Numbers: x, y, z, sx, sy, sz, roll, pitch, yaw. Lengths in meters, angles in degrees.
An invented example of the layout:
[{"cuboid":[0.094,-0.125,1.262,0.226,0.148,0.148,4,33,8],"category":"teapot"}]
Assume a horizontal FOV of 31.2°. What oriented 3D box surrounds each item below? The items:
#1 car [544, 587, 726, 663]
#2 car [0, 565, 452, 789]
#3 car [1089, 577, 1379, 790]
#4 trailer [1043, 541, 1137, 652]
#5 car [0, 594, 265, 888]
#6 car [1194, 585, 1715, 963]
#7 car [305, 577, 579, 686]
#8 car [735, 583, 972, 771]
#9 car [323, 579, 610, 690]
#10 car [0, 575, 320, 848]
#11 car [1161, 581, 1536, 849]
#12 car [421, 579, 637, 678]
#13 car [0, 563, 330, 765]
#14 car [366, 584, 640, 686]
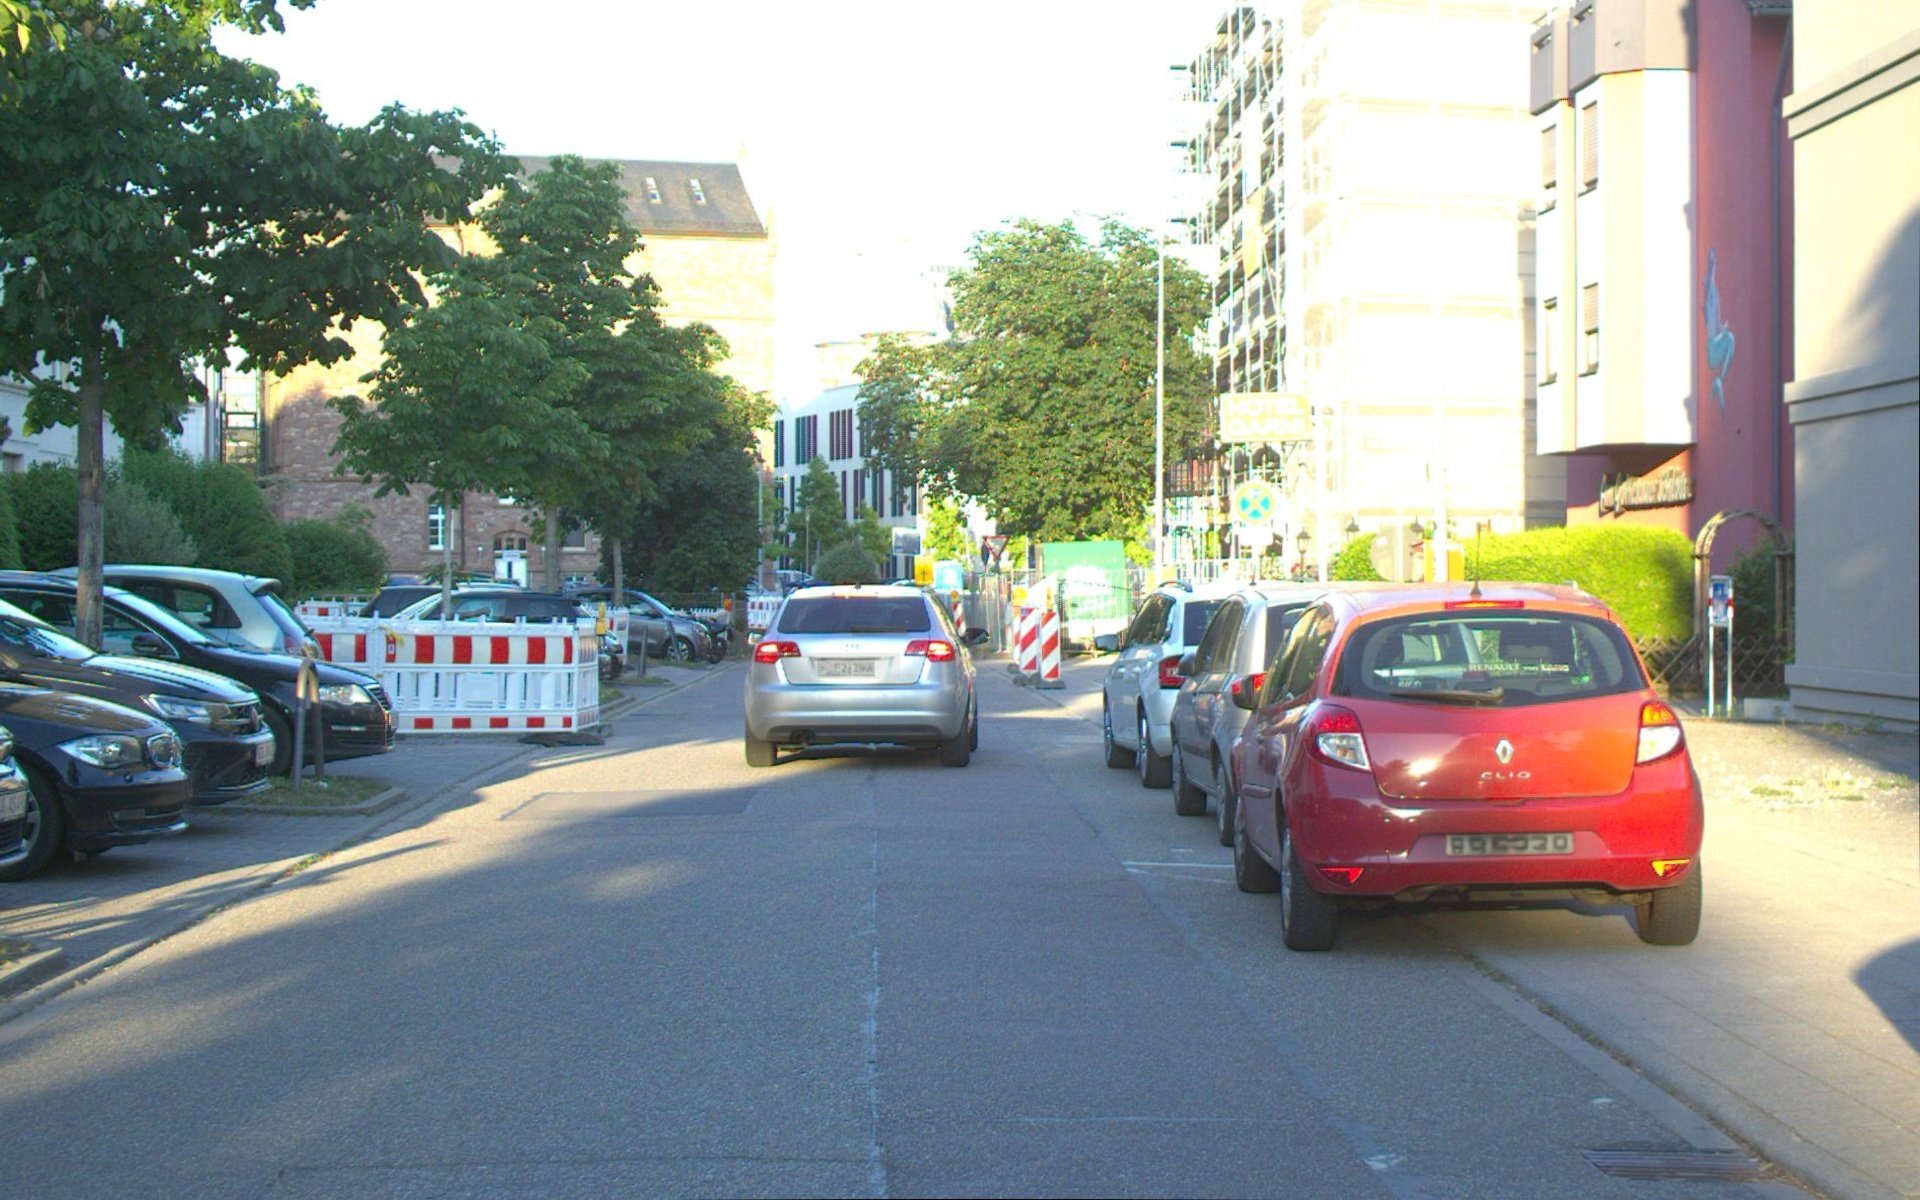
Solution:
[{"cuboid":[-6.690,0.506,70.983,3.623,1.551,1.693,0,0,-1],"category":"car"},{"cuboid":[-6.092,0.516,24.958,4.507,1.479,1.728,2,0,1],"category":"car"},{"cuboid":[1.971,0.567,25.767,1.614,1.464,3.997,0,0,-4],"category":"car"},{"cuboid":[3.027,-0.111,80.770,1.993,2.531,4.186,0,1,-1],"category":"trailer"},{"cuboid":[-5.650,0.653,17.545,3.842,1.380,1.607,2,0,1],"category":"car"},{"cuboid":[2.066,0.675,15.340,1.740,1.464,3.759,0,0,-1],"category":"car"},{"cuboid":[-7.501,0.462,49.965,3.677,1.479,1.728,1,-1,1],"category":"car"},{"cuboid":[-0.819,0.567,27.801,1.775,1.392,4.107,0,0,-1],"category":"car"},{"cuboid":[-6.786,0.479,47.502,3.677,1.440,1.728,1,-1,1],"category":"car"},{"cuboid":[-5.950,0.589,20.130,4.032,1.479,1.728,2,0,1],"category":"car"},{"cuboid":[2.248,0.620,20.817,1.797,1.464,3.844,0,0,-1],"category":"car"},{"cuboid":[-7.187,0.487,57.547,3.474,1.561,1.728,1,-1,-4],"category":"car"},{"cuboid":[-7.017,0.465,27.200,3.699,1.479,1.728,2,0,1],"category":"car"},{"cuboid":[-7.038,0.543,53.213,3.977,1.484,1.728,1,-1,1],"category":"car"}]
